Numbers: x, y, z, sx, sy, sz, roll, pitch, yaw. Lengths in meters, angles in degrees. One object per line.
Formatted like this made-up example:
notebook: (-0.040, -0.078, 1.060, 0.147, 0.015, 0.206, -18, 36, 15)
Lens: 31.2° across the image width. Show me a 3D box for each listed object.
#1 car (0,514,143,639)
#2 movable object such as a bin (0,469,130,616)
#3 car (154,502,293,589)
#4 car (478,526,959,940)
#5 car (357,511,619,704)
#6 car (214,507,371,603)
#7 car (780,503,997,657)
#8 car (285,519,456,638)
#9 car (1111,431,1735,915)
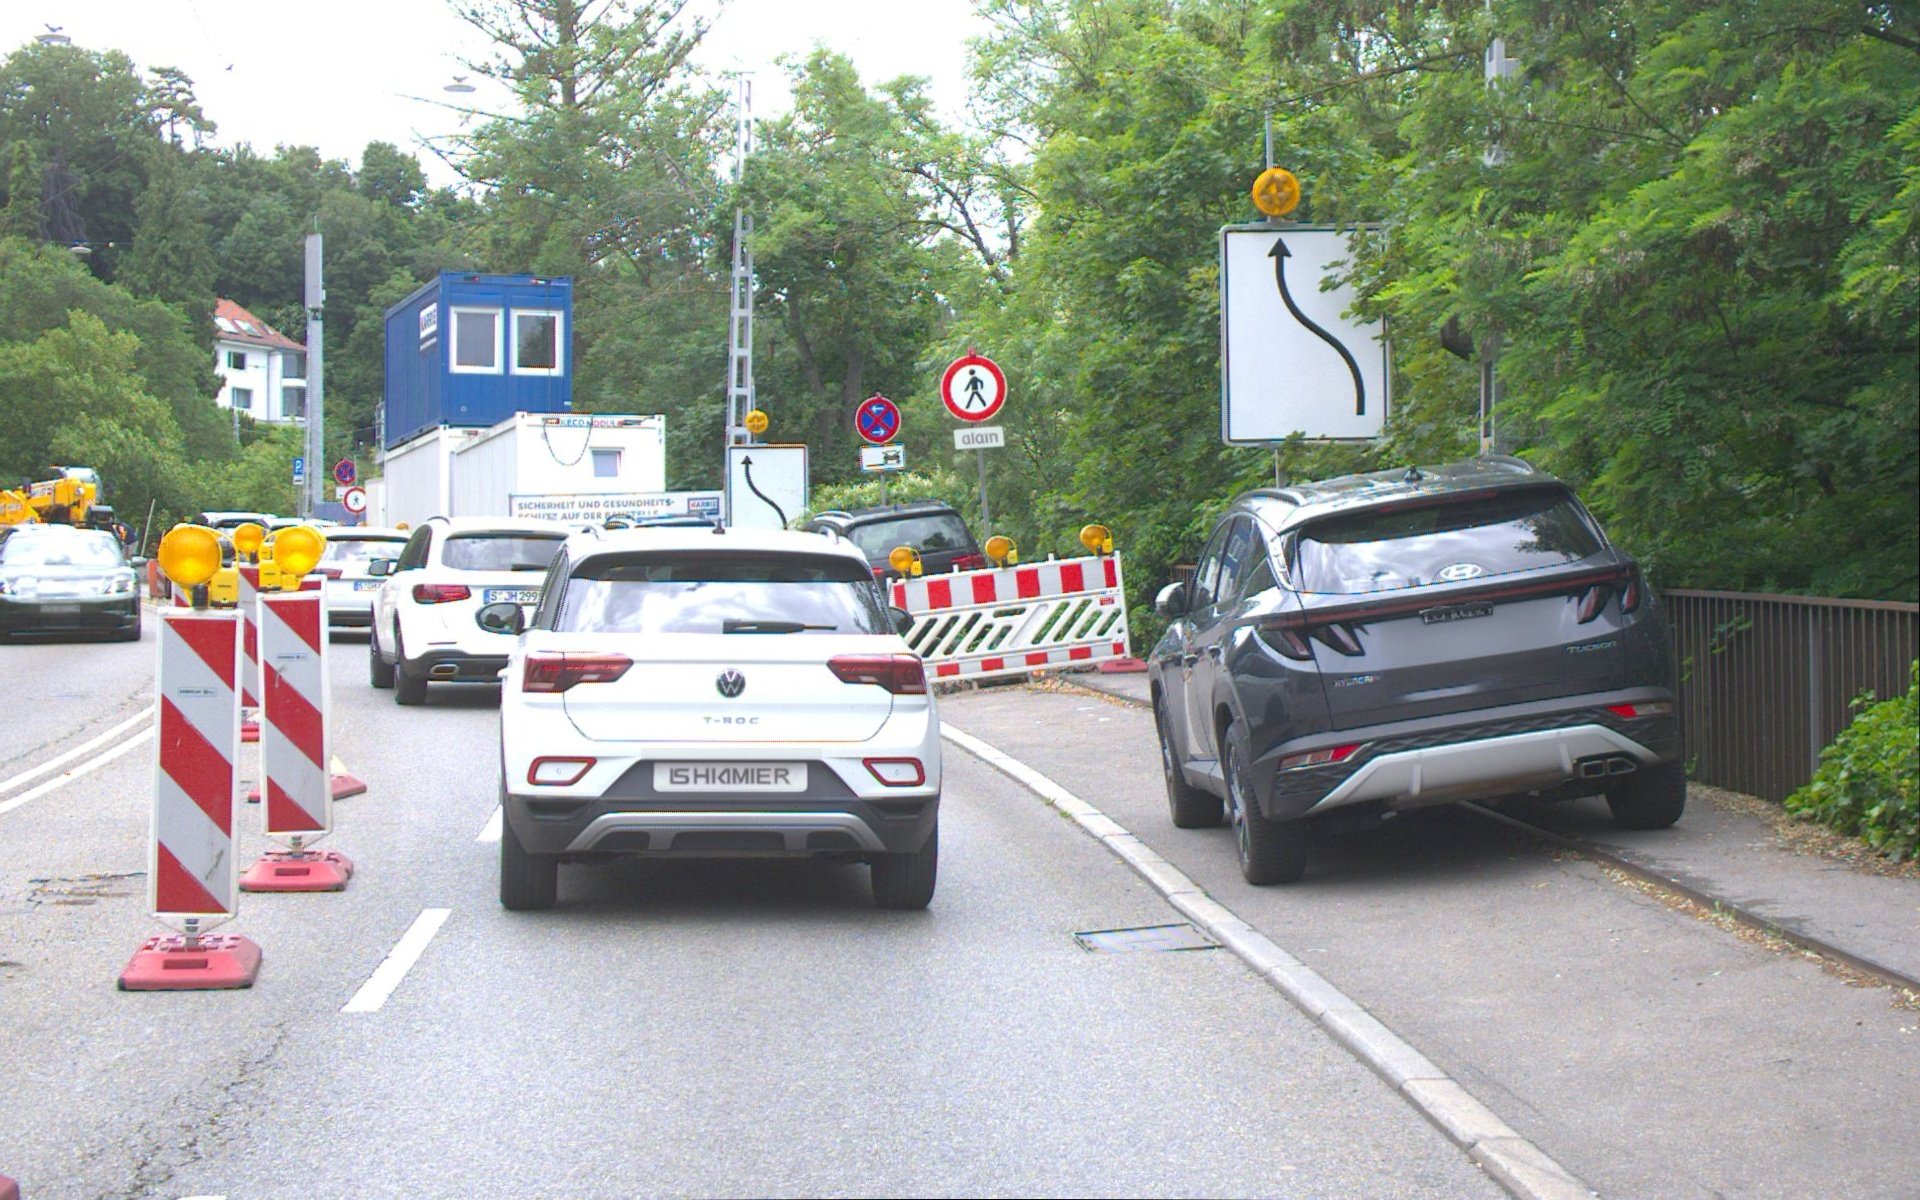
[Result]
car: (-11.425, -0.330, 43.910, 1.895, 1.489, 4.001, -1, 1, -13)
movable object such as a bin: (-24.436, -1.523, 90.794, 3.531, 3.687, 7.496, -2, 1, -24)
car: (-13.830, -1.052, 64.391, 1.993, 1.551, 4.152, -1, 2, -20)
car: (-1.170, 0.458, 14.911, 1.757, 1.550, 3.796, 0, 1, -9)
car: (-4.284, 0.017, 30.755, 1.757, 1.604, 3.797, 0, 1, -17)
car: (-10.671, -0.691, 54.754, 1.993, 1.409, 4.152, -2, 0, -17)
car: (-0.838, -0.239, 37.692, 1.715, 1.512, 3.661, -3, 2, -11)
car: (-7.669, -0.307, 44.514, 1.757, 1.466, 3.797, 0, 1, -16)
car: (1.916, 0.236, 15.580, 1.849, 1.651, 4.143, -8, 2, -3)
